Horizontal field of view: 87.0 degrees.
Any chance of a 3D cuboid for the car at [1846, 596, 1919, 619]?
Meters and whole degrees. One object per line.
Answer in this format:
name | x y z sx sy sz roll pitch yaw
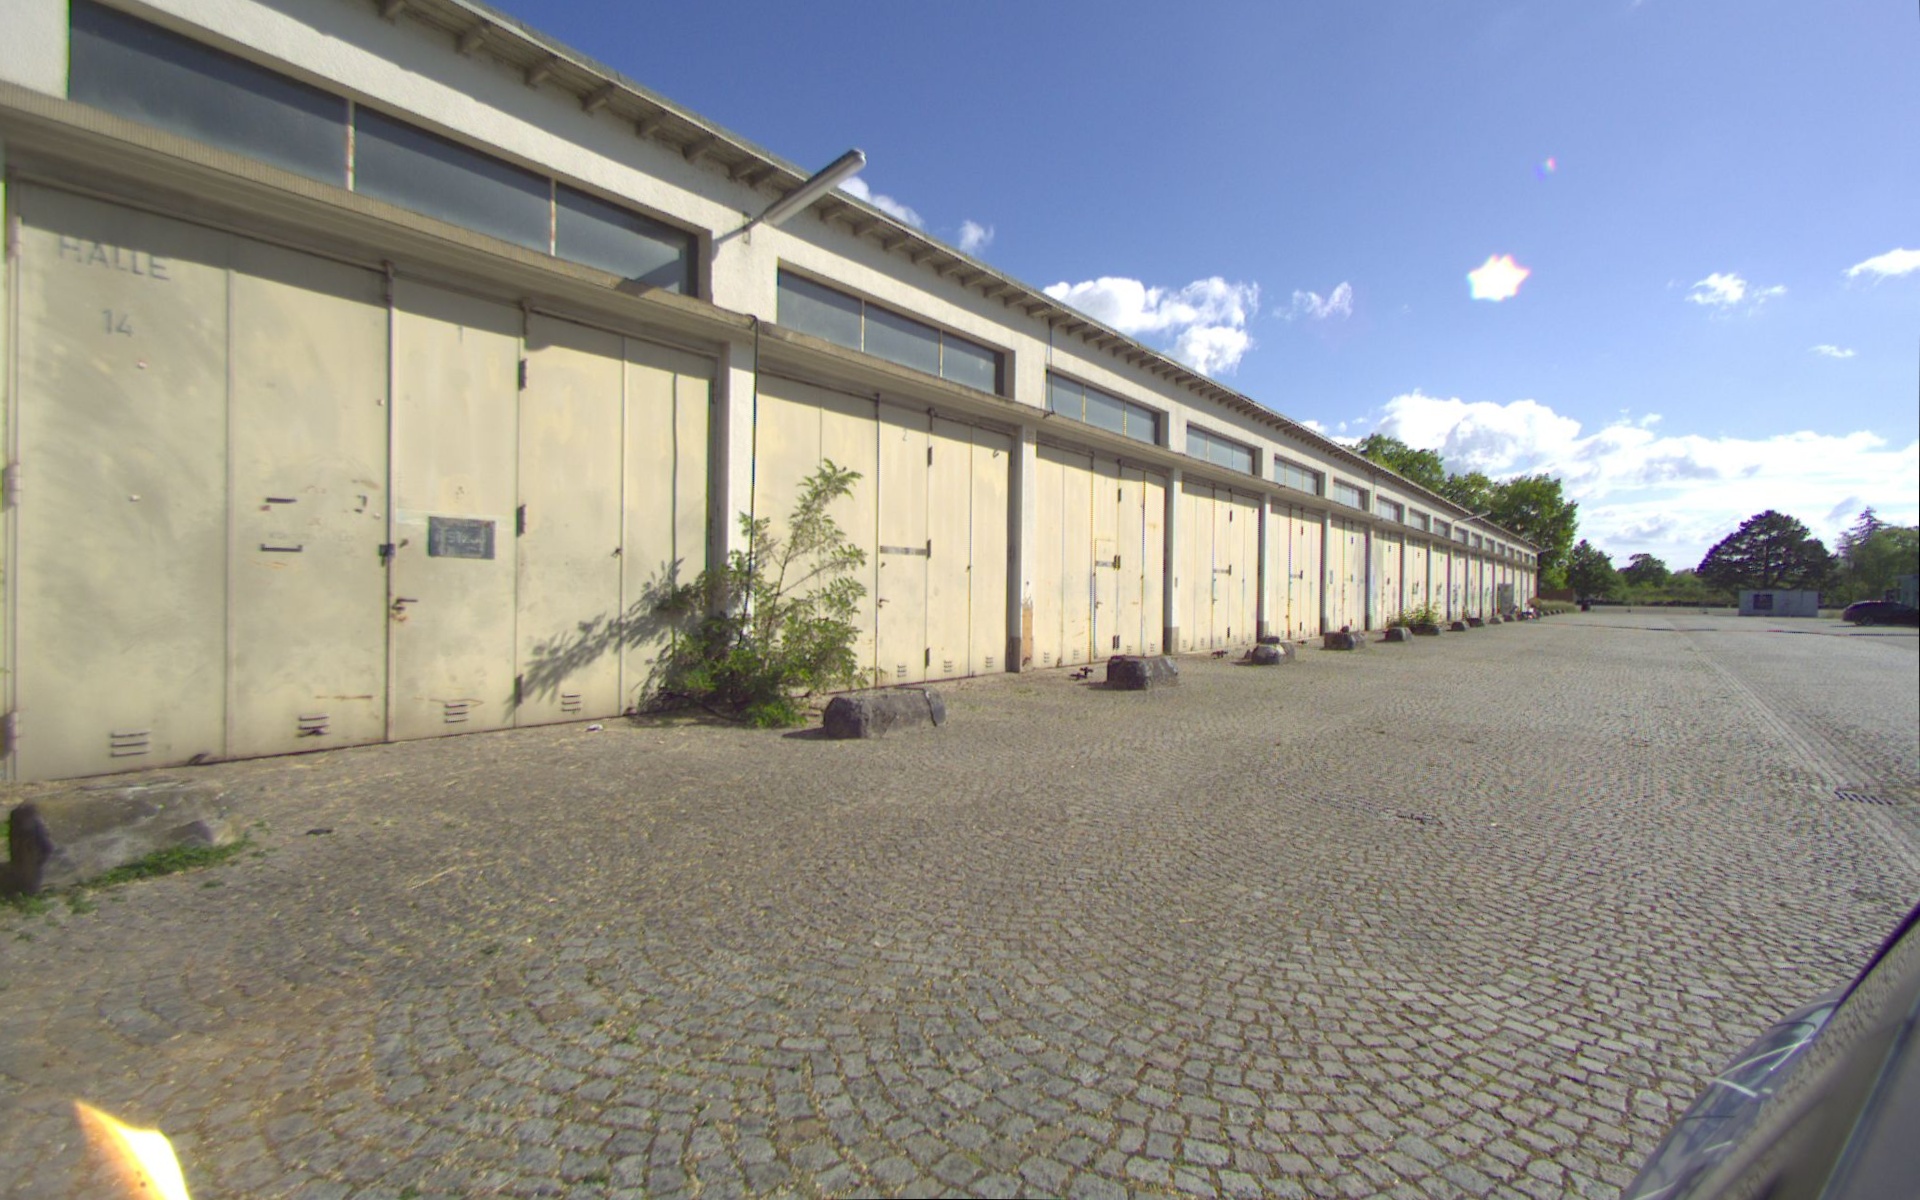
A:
car | 55.056 0.442 59.528 4.084 1.313 1.977 -1 0 33
